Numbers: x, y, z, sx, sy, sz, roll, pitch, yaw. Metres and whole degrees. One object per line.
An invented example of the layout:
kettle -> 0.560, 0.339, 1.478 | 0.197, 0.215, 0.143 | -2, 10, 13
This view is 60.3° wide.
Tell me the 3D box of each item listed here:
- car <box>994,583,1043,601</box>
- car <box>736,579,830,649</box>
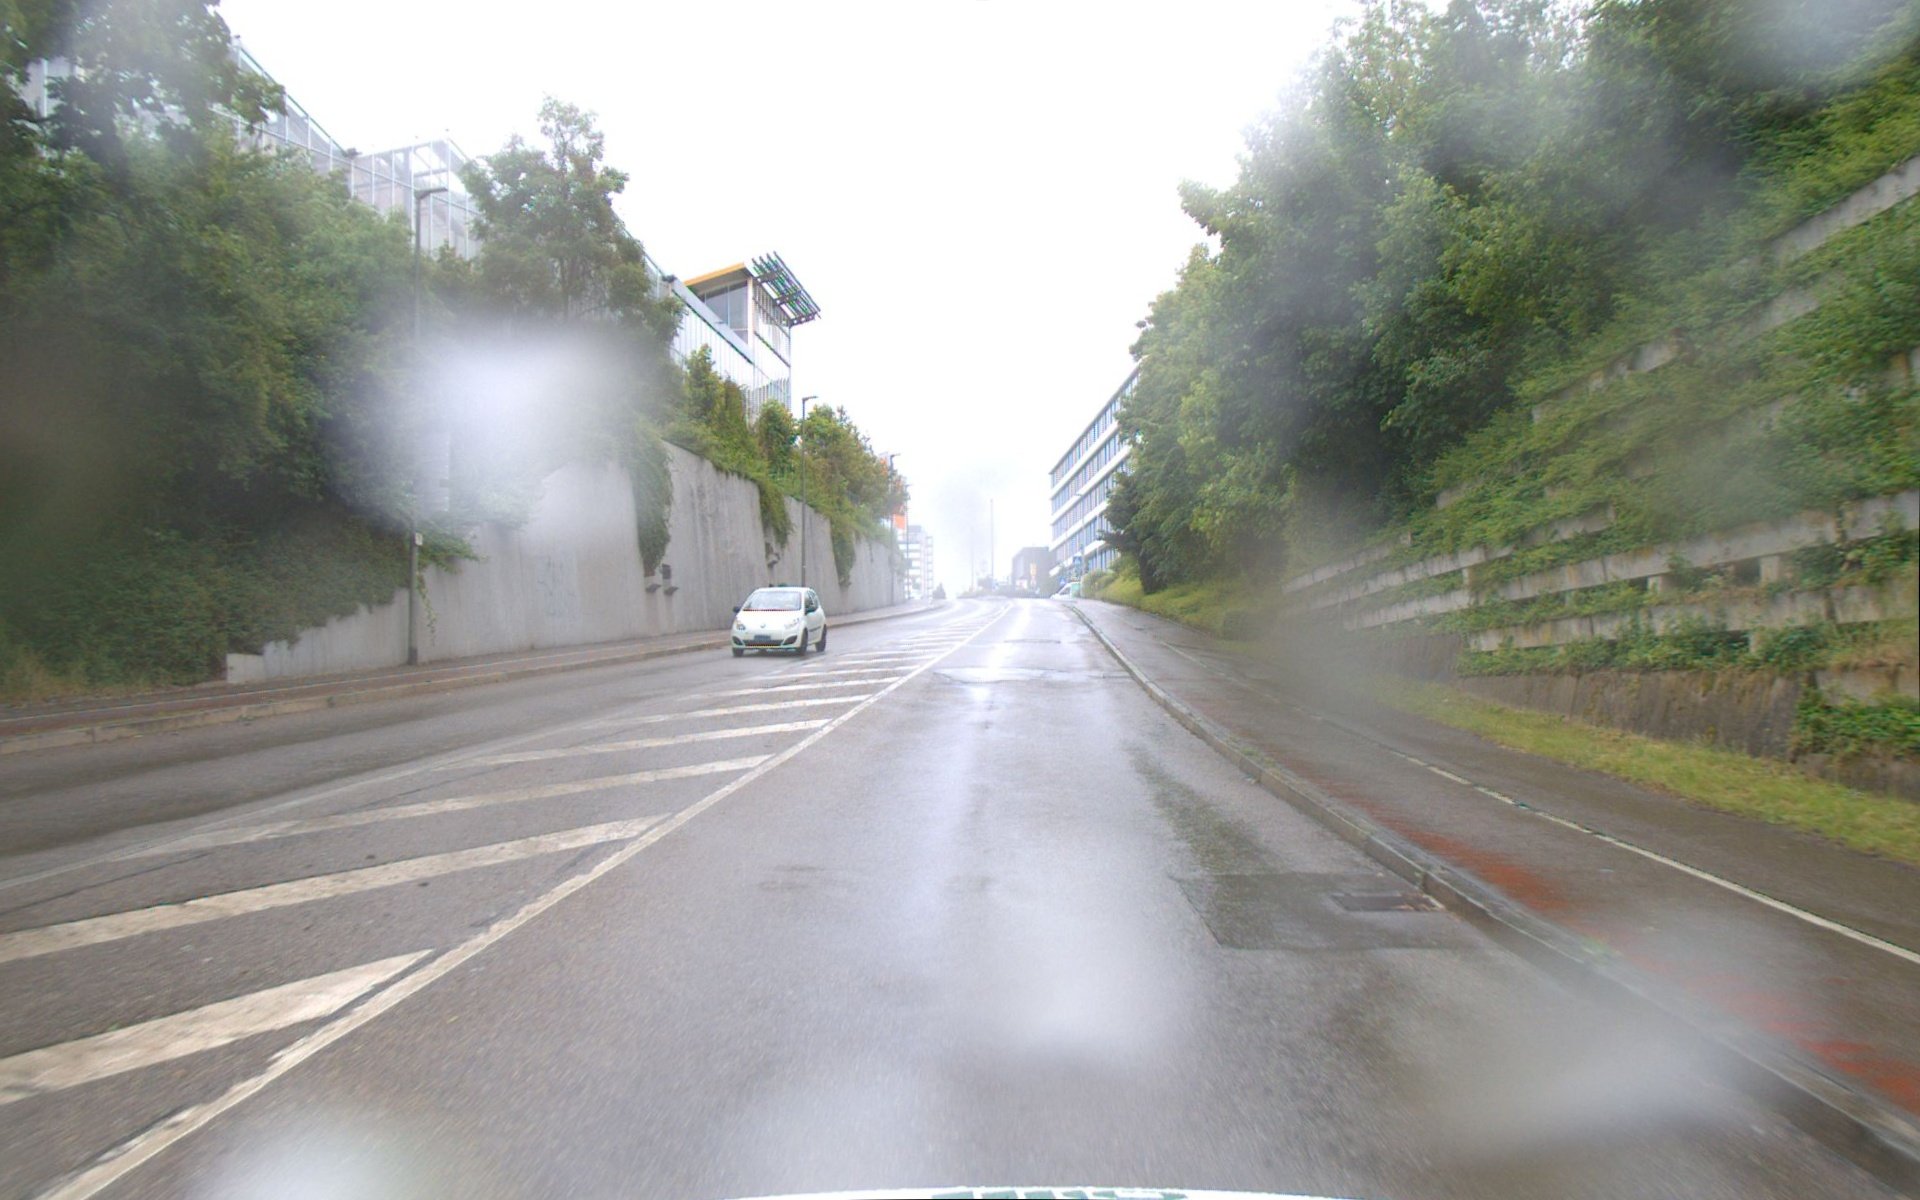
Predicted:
car -> 5.300, -0.711, 149.310 | 4.112, 1.434, 1.801 | -1, -3, 14
car -> -3.930, 0.337, 37.195 | 1.481, 1.474, 3.818 | 0, -1, 4
